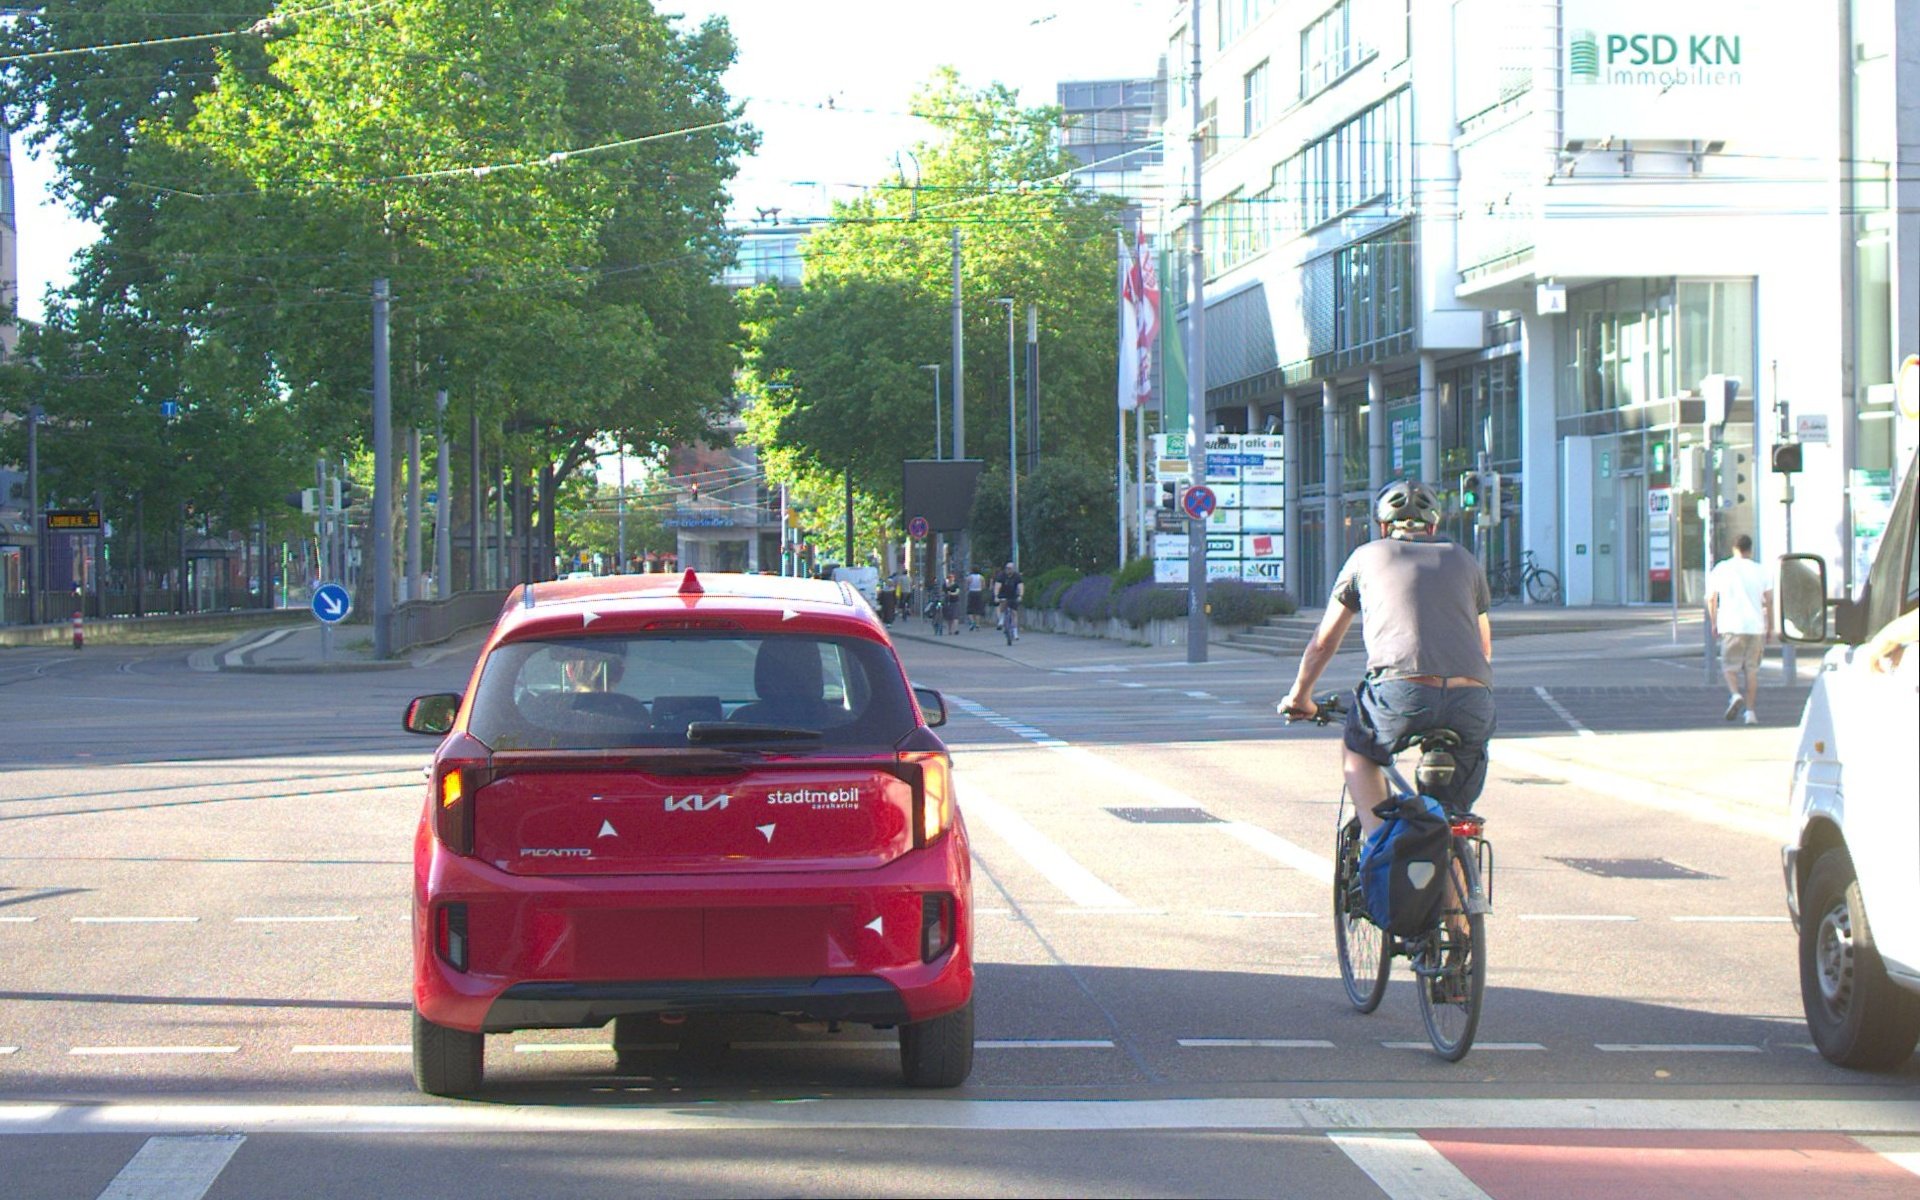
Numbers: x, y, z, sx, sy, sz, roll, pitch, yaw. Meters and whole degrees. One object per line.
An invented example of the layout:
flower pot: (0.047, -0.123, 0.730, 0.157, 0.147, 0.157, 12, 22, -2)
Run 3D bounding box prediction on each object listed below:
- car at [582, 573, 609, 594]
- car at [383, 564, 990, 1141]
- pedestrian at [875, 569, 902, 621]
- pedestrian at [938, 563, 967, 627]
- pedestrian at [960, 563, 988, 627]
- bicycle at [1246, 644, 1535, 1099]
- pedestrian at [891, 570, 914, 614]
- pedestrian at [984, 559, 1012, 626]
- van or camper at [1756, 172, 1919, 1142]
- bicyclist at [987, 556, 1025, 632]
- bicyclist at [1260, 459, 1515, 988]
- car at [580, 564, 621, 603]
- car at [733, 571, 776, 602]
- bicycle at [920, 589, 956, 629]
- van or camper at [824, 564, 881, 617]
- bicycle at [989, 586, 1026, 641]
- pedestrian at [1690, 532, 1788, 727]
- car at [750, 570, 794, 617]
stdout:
car: (-27.091, -1.220, 255.158, 1.777, 1.529, 3.412, 0, 1, -10)
car: (-0.872, 0.655, 10.890, 1.613, 1.529, 3.412, 0, 1, -5)
pedestrian: (-2.242, -0.155, 107.507, 0.641, 1.574, 0.723, -4, 1, -7)
pedestrian: (-0.193, -0.138, 89.869, 0.646, 1.674, 0.651, -1, 0, -10)
pedestrian: (0.379, -0.140, 94.354, 0.564, 1.696, 0.907, -4, 1, -7)
bicycle: (1.341, 0.807, 11.040, 0.650, 1.276, 1.966, -1, 1, 0)
pedestrian: (-2.249, -0.317, 135.340, 0.891, 1.747, 0.841, -1, 0, 0)
pedestrian: (1.050, -0.216, 94.454, 0.540, 1.790, 0.907, -4, 1, -7)
van or camper: (3.760, 0.180, 8.037, 1.968, 2.707, 6.306, 0, 1, -3)
bicyclist: (1.007, -0.144, 74.258, 0.722, 1.597, 1.089, -3, 1, 2)
bicyclist: (1.346, 0.369, 10.977, 0.650, 1.597, 1.089, -1, 1, 0)
car: (-18.881, -0.893, 180.605, 1.993, 2.007, 4.001, -1, 1, -8)
car: (-10.440, -0.682, 174.558, 1.777, 1.529, 3.513, 0, 1, -10)
bicycle: (-0.574, 0.233, 89.651, 0.520, 0.971, 2.202, -4, 1, -10)
van or camper: (-4.149, -0.354, 131.546, 1.993, 1.982, 4.745, 0, 0, -4)
bicycle: (1.037, 0.284, 74.343, 0.696, 1.094, 1.751, -4, 1, 2)
pedestrian: (7.448, 0.271, 32.920, 0.777, 1.817, 1.215, -1, 1, 7)
car: (-7.291, -0.259, 133.435, 1.635, 1.794, 3.330, -1, 1, -3)
